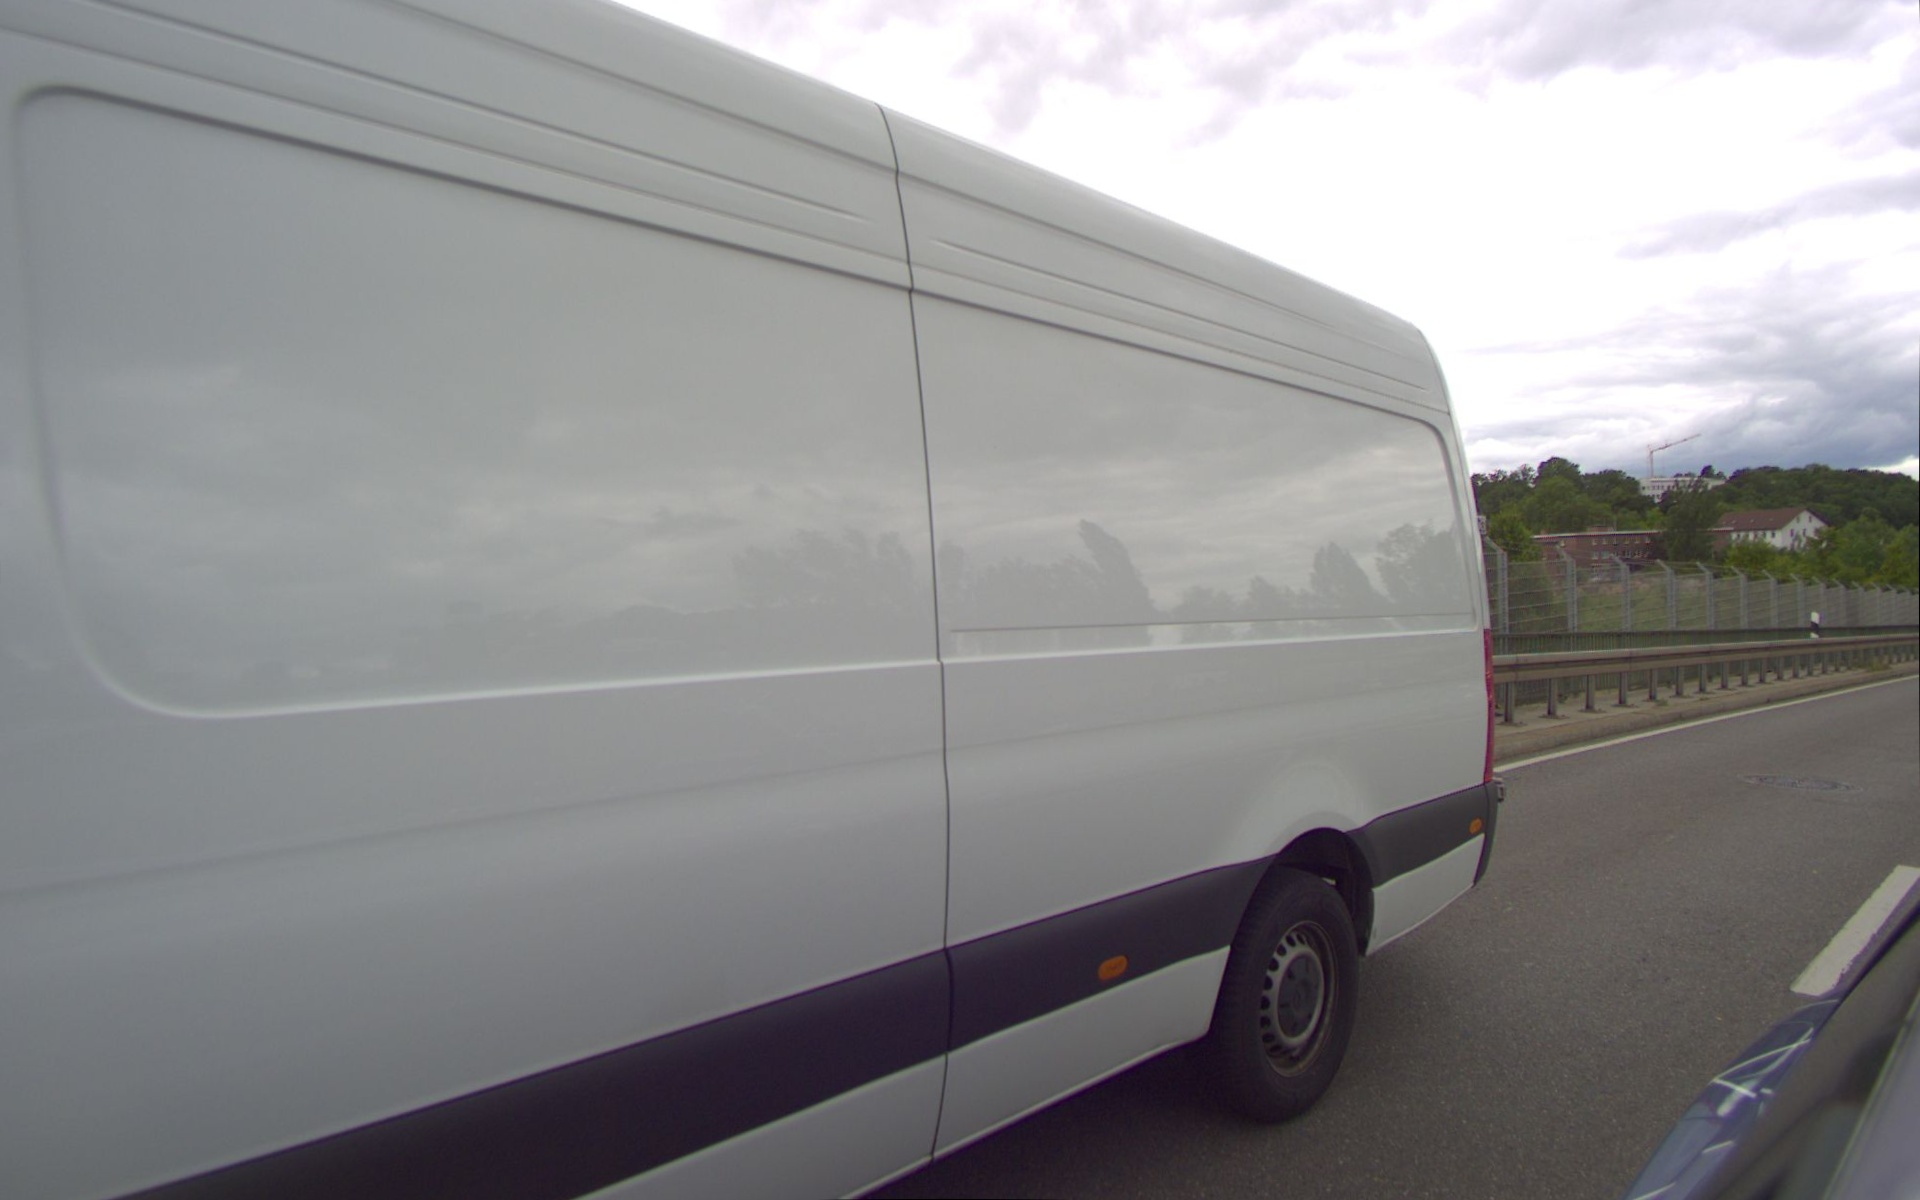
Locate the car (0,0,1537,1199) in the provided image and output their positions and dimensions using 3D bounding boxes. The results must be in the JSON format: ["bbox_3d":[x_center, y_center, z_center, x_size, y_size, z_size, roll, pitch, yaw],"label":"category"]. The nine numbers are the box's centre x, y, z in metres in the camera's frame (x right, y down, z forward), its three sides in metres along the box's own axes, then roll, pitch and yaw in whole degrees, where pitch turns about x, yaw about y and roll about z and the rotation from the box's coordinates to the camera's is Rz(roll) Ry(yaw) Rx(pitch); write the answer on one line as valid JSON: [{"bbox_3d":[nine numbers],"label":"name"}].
[{"bbox_3d":[-0.938,-0.060,2.538,6.662,2.819,2.114,0,0,-41],"label":"car"}]
